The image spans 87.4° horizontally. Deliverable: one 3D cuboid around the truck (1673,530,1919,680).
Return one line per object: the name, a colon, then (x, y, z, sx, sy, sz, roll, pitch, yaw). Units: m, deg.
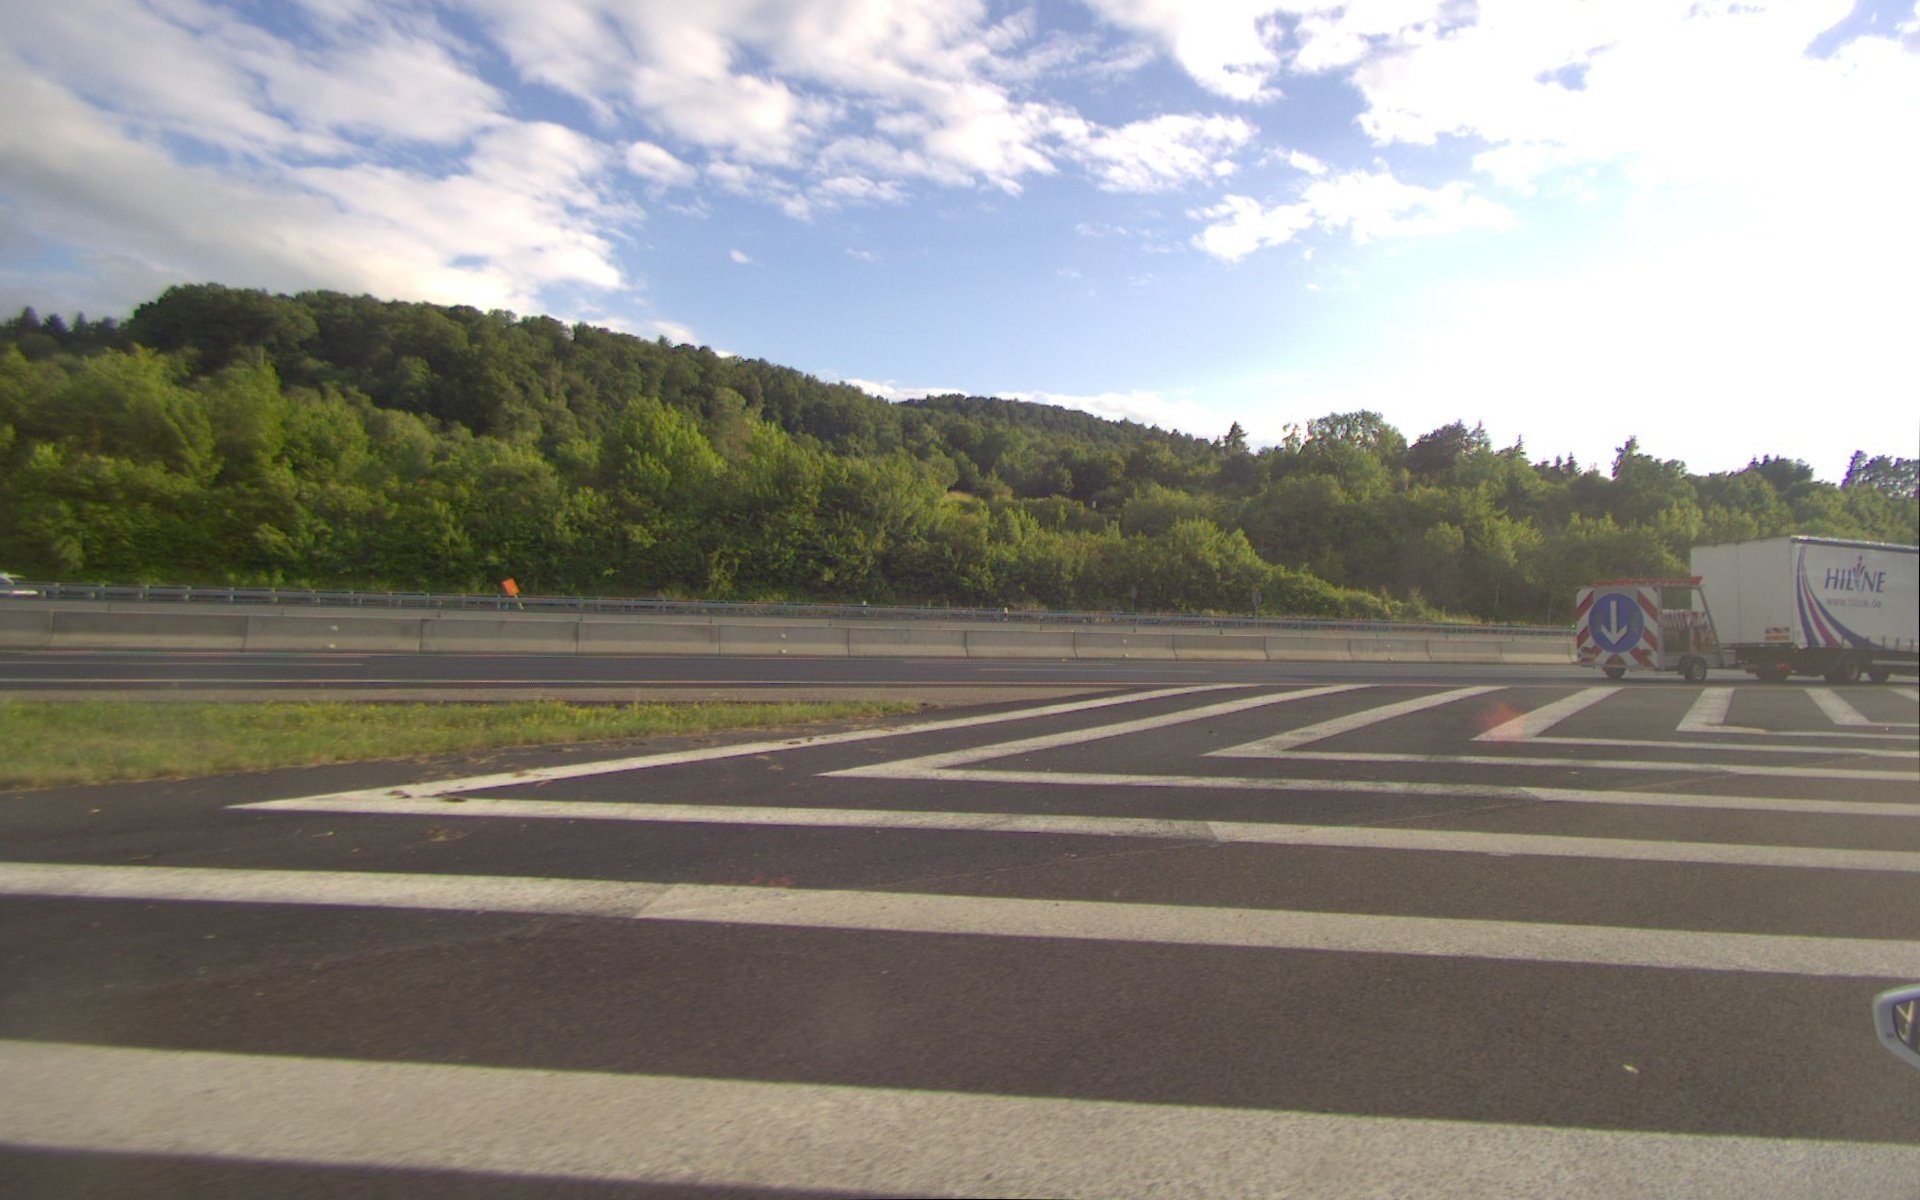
truck: (25.241, 0.234, 28.801, 9.518, 3.840, 2.916, 2, 1, -20)

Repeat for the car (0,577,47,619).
car: (-38.864, -0.113, 39.546, 3.944, 1.600, 1.617, 2, 0, -24)

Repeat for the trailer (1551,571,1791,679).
trailer: (18.571, 0.645, 26.327, 4.743, 2.612, 2.916, 2, 0, -20)
